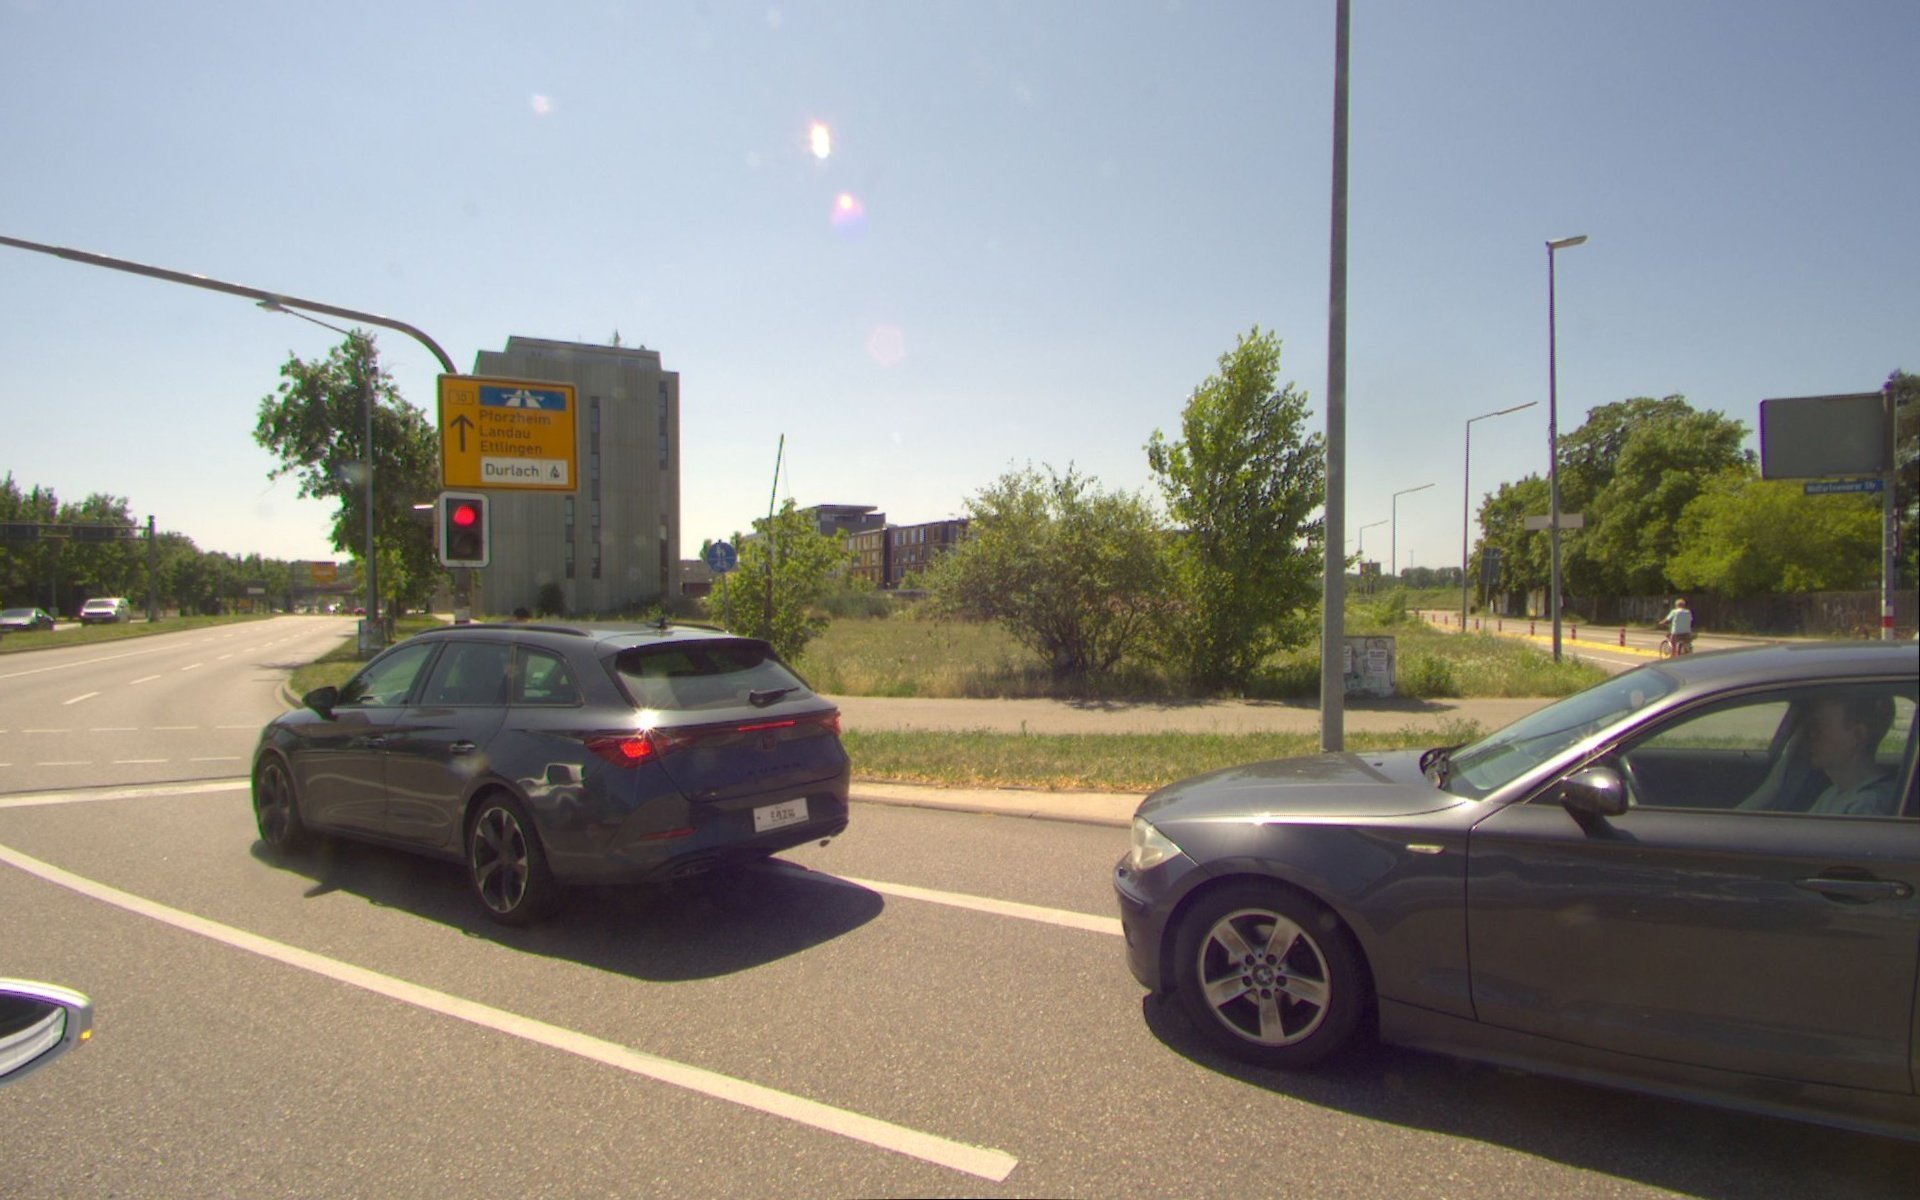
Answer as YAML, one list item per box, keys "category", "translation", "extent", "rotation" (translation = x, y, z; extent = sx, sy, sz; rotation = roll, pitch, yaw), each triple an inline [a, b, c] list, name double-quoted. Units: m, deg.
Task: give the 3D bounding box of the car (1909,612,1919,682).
- category: "car"
  translation: [20.483, 0.955, 19.133]
  extent: [1.831, 1.447, 3.993]
  rotation: [-1, -1, 18]

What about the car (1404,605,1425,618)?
- category: "car"
  translation: [55.981, 1.390, 123.381]
  extent: [1.728, 1.565, 3.689]
  rotation: [0, 0, 16]

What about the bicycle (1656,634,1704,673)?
- category: "bicycle"
  translation: [18.526, 1.362, 25.755]
  extent: [1.856, 0.891, 0.623]
  rotation: [-1, 0, -42]

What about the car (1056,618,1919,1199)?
- category: "car"
  translation: [2.513, 0.794, 3.354]
  extent: [4.020, 1.421, 1.745]
  rotation: [0, -1, 31]

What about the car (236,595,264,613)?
- category: "car"
  translation: [-73.820, 0.440, 104.127]
  extent: [1.780, 1.714, 4.123]
  rotation: [-2, 0, -28]

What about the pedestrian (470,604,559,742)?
- category: "pedestrian"
  translation: [-5.697, 0.898, 12.799]
  extent: [0.942, 1.659, 0.753]
  rotation: [-2, 1, -29]

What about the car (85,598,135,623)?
- category: "car"
  translation: [-57.181, 0.704, 67.404]
  extent: [1.842, 1.575, 3.979]
  rotation: [0, 0, -30]

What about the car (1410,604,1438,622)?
- category: "car"
  translation: [42.181, 1.147, 91.054]
  extent: [1.728, 1.565, 3.689]
  rotation: [0, 0, 16]

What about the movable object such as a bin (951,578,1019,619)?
- category: "movable object such as a bin"
  translation: [2.214, -0.155, 83.753]
  extent: [2.770, 3.190, 7.577]
  rotation: [-1, 0, 26]

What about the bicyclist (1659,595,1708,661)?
- category: "bicyclist"
  translation: [18.553, 0.706, 25.677]
  extent: [1.150, 1.662, 0.742]
  rotation: [0, 1, -40]

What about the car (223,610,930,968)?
- category: "car"
  translation: [-2.527, 0.794, 6.180]
  extent: [4.395, 1.437, 1.988]
  rotation: [0, 0, 35]

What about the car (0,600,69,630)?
- category: "car"
  translation: [-48.771, 0.757, 52.718]
  extent: [1.948, 1.507, 3.980]
  rotation: [0, 0, -29]
